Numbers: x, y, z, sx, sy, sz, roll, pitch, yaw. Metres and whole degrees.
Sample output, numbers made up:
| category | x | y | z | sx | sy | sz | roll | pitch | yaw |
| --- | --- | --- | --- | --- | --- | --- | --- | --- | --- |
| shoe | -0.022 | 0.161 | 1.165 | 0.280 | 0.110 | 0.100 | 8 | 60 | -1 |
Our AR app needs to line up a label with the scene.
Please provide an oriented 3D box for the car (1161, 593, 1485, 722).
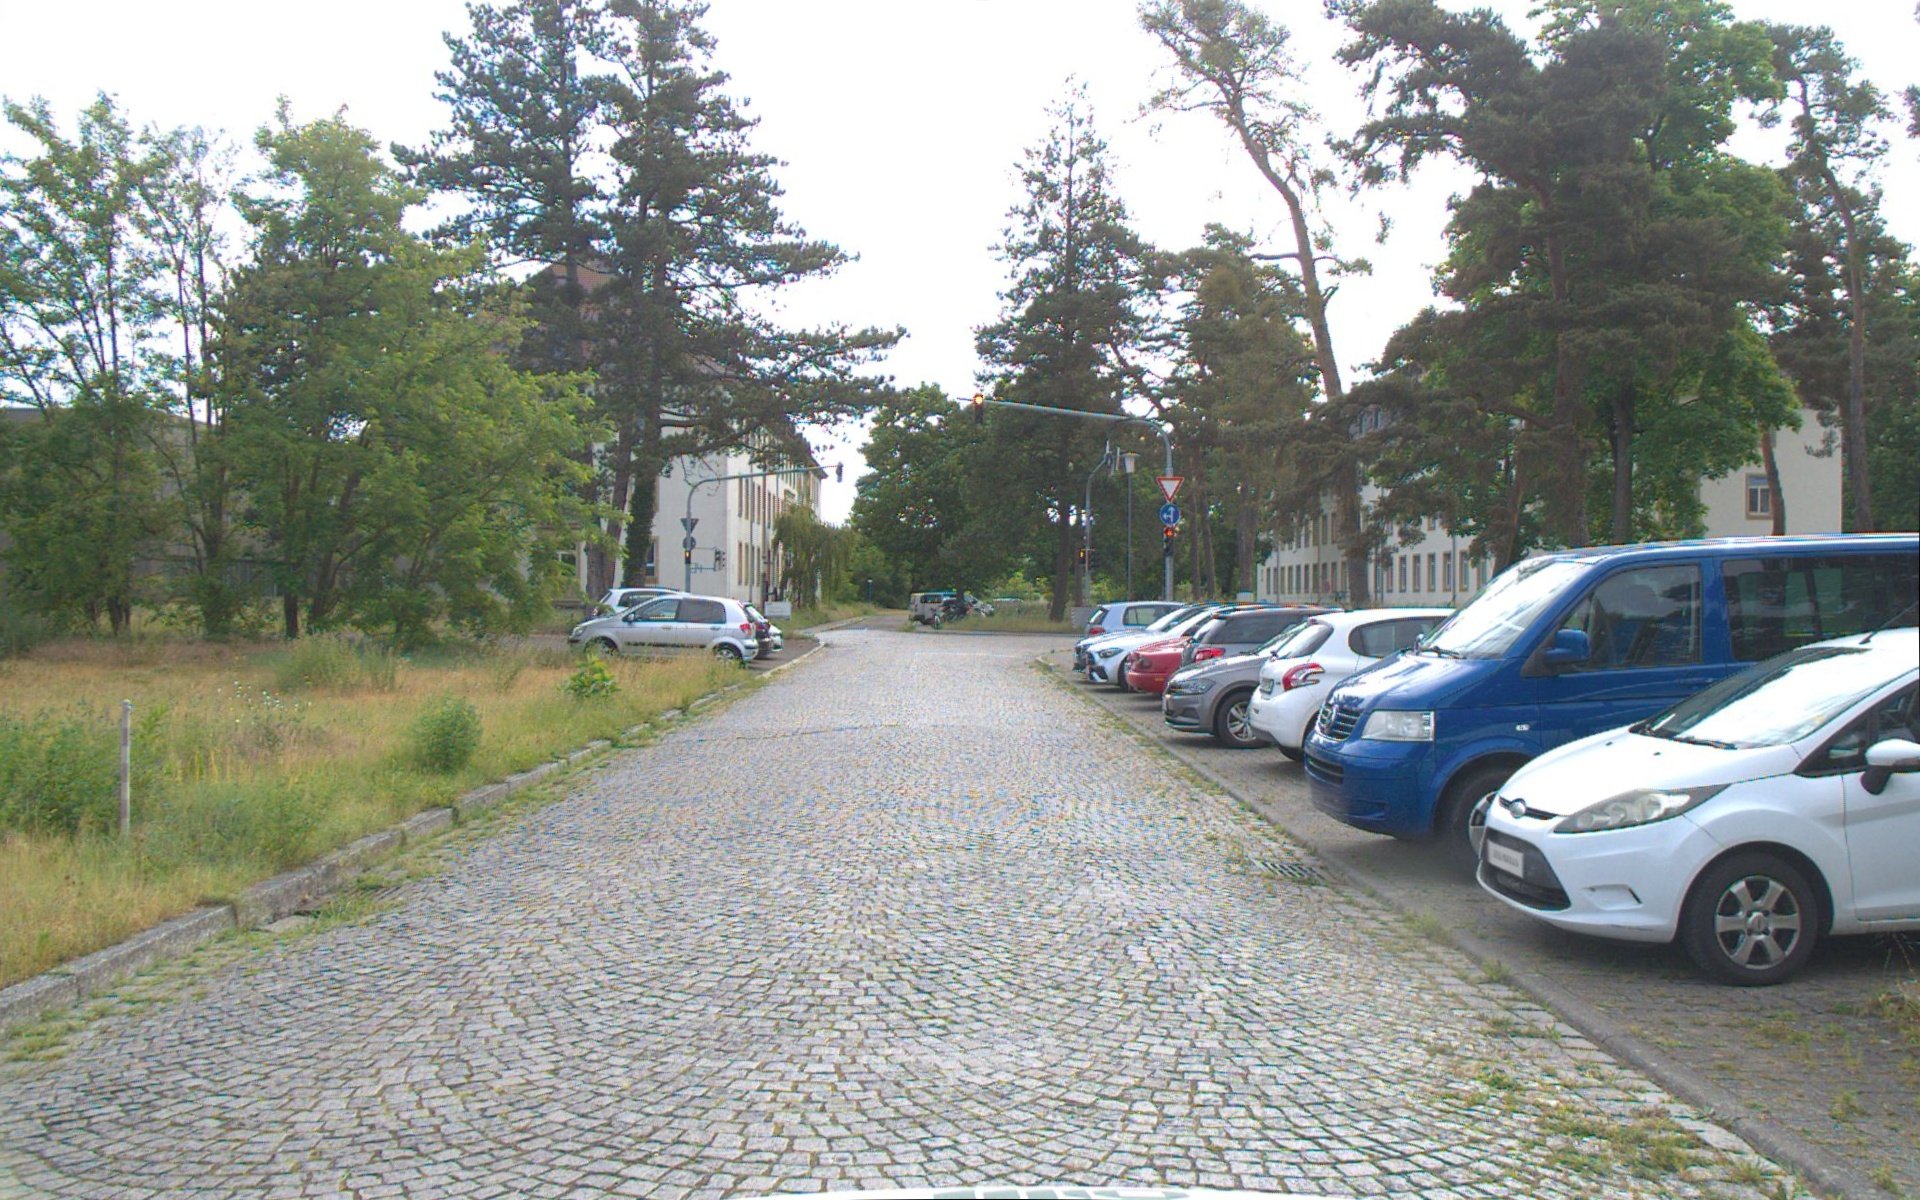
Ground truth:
| category | x | y | z | sx | sy | sz | roll | pitch | yaw |
| --- | --- | --- | --- | --- | --- | --- | --- | --- | --- |
| car | 4.644 | 0.712 | 21.526 | 3.785 | 1.498 | 1.757 | -2 | 0 | -2 |

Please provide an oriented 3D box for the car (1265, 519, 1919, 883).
| category | x | y | z | sx | sy | sz | roll | pitch | yaw |
| --- | --- | --- | --- | --- | --- | --- | --- | --- | --- |
| car | 4.504 | 0.546 | 10.466 | 4.711 | 1.980 | 2.002 | -2 | 0 | -2 |

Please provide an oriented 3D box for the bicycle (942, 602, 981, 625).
| category | x | y | z | sx | sy | sz | roll | pitch | yaw |
| --- | --- | --- | --- | --- | --- | --- | --- | --- | --- |
| bicycle | 0.069 | 0.690 | 83.426 | 1.918 | 1.136 | 0.587 | 0 | 0 | -8 |

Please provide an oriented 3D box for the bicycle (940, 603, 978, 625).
| category | x | y | z | sx | sy | sz | roll | pitch | yaw |
| --- | --- | --- | --- | --- | --- | --- | --- | --- | --- |
| bicycle | -0.062 | 0.713 | 84.906 | 1.935 | 1.088 | 0.582 | 0 | 0 | -31 |

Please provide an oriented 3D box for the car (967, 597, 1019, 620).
| category | x | y | z | sx | sy | sz | roll | pitch | yaw |
| --- | --- | --- | --- | --- | --- | --- | --- | --- | --- |
| car | 2.063 | 0.511 | 104.802 | 3.168 | 1.441 | 1.724 | 0 | 0 | -4 |

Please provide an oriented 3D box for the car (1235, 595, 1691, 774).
| category | x | y | z | sx | sy | sz | roll | pitch | yaw |
| --- | --- | --- | --- | --- | --- | --- | --- | --- | --- |
| car | 4.700 | 0.756 | 15.821 | 3.785 | 1.498 | 1.757 | -2 | 0 | -2 |

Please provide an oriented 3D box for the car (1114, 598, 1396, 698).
| category | x | y | z | sx | sy | sz | roll | pitch | yaw |
| --- | --- | --- | --- | --- | --- | --- | --- | --- | --- |
| car | 4.675 | 0.742 | 26.639 | 4.175 | 1.441 | 1.870 | -2 | 0 | -2 |

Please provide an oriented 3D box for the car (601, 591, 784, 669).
| category | x | y | z | sx | sy | sz | roll | pitch | yaw |
| --- | --- | --- | --- | --- | --- | --- | --- | --- | --- |
| car | -5.687 | 0.631 | 35.496 | 3.672 | 1.453 | 1.581 | 3 | 0 | -4 |

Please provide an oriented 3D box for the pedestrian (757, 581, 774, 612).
| category | x | y | z | sx | sy | sz | roll | pitch | yaw |
| --- | --- | --- | --- | --- | --- | --- | --- | --- | --- |
| pedestrian | -11.572 | -0.207 | 98.285 | 0.766 | 1.870 | 0.733 | 0 | 0 | -32 |

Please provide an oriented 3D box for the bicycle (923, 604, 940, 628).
| category | x | y | z | sx | sy | sz | roll | pitch | yaw |
| --- | --- | --- | --- | --- | --- | --- | --- | --- | --- |
| bicycle | -1.377 | 0.761 | 79.565 | 0.591 | 1.152 | 1.959 | 0 | 0 | -6 |

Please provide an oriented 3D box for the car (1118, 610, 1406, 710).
| category | x | y | z | sx | sy | sz | roll | pitch | yaw |
| --- | --- | --- | --- | --- | --- | --- | --- | --- | --- |
| car | 4.299 | 0.840 | 23.886 | 3.785 | 1.258 | 1.757 | -2 | 0 | -2 |

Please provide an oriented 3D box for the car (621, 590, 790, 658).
| category | x | y | z | sx | sy | sz | roll | pitch | yaw |
| --- | --- | --- | --- | --- | --- | --- | --- | --- | --- |
| car | -6.250 | 0.576 | 40.925 | 3.868 | 1.446 | 1.649 | 3 | 0 | -2 |

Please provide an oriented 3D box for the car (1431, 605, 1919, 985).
| category | x | y | z | sx | sy | sz | roll | pitch | yaw |
| --- | --- | --- | --- | --- | --- | --- | --- | --- | --- |
| car | 4.418 | 0.797 | 7.872 | 3.785 | 1.498 | 1.840 | -2 | 0 | -2 |

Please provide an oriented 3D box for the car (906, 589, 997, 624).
| category | x | y | z | sx | sy | sz | roll | pitch | yaw |
| --- | --- | --- | --- | --- | --- | --- | --- | --- | --- |
| car | -0.545 | 0.382 | 100.866 | 5.263 | 1.958 | 2.020 | -1 | 0 | -10 |

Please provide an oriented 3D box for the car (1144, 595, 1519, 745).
| category | x | y | z | sx | sy | sz | roll | pitch | yaw |
| --- | --- | --- | --- | --- | --- | --- | --- | --- | --- |
| car | 4.103 | 0.747 | 18.672 | 3.785 | 1.498 | 1.757 | -2 | 0 | -2 |

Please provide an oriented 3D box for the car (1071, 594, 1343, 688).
| category | x | y | z | sx | sy | sz | roll | pitch | yaw |
| --- | --- | --- | --- | --- | --- | --- | --- | --- | --- |
| car | 4.271 | 0.685 | 28.898 | 4.341 | 1.441 | 1.866 | -2 | 0 | -10 |

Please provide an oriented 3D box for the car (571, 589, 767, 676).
| category | x | y | z | sx | sy | sz | roll | pitch | yaw |
| --- | --- | --- | --- | --- | --- | --- | --- | --- | --- |
| car | -5.746 | 0.635 | 33.016 | 3.630 | 1.505 | 1.581 | 3 | 0 | -4 |

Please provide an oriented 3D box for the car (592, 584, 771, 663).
| category | x | y | z | sx | sy | sz | roll | pitch | yaw |
| --- | --- | --- | --- | --- | --- | --- | --- | --- | --- |
| car | -6.400 | 0.535 | 38.380 | 3.870 | 1.590 | 1.649 | 3 | 0 | -4 |

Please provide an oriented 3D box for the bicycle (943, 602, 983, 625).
| category | x | y | z | sx | sy | sz | roll | pitch | yaw |
| --- | --- | --- | --- | --- | --- | --- | --- | --- | --- |
| bicycle | 0.142 | 0.667 | 82.794 | 1.918 | 1.152 | 0.587 | 0 | 0 | -8 |

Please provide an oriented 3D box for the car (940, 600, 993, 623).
| category | x | y | z | sx | sy | sz | roll | pitch | yaw |
| --- | --- | --- | --- | --- | --- | --- | --- | --- | --- |
| car | 0.383 | 0.669 | 97.521 | 2.948 | 1.290 | 1.533 | 0 | 0 | -7 |

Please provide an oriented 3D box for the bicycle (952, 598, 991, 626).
| category | x | y | z | sx | sy | sz | roll | pitch | yaw |
| --- | --- | --- | --- | --- | --- | --- | --- | --- | --- |
| bicycle | 0.584 | 0.612 | 84.268 | 1.918 | 1.408 | 0.587 | 0 | 0 | -8 |

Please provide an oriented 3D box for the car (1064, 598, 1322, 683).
| category | x | y | z | sx | sy | sz | roll | pitch | yaw |
| --- | --- | --- | --- | --- | --- | --- | --- | --- | --- |
| car | 4.395 | 0.750 | 31.586 | 4.588 | 1.441 | 1.870 | -2 | 0 | -4 |

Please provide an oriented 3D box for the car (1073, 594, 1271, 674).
| category | x | y | z | sx | sy | sz | roll | pitch | yaw |
| --- | --- | --- | --- | --- | --- | --- | --- | --- | --- |
| car | 4.319 | 0.675 | 34.038 | 3.846 | 1.503 | 1.642 | -2 | 0 | 0 |
